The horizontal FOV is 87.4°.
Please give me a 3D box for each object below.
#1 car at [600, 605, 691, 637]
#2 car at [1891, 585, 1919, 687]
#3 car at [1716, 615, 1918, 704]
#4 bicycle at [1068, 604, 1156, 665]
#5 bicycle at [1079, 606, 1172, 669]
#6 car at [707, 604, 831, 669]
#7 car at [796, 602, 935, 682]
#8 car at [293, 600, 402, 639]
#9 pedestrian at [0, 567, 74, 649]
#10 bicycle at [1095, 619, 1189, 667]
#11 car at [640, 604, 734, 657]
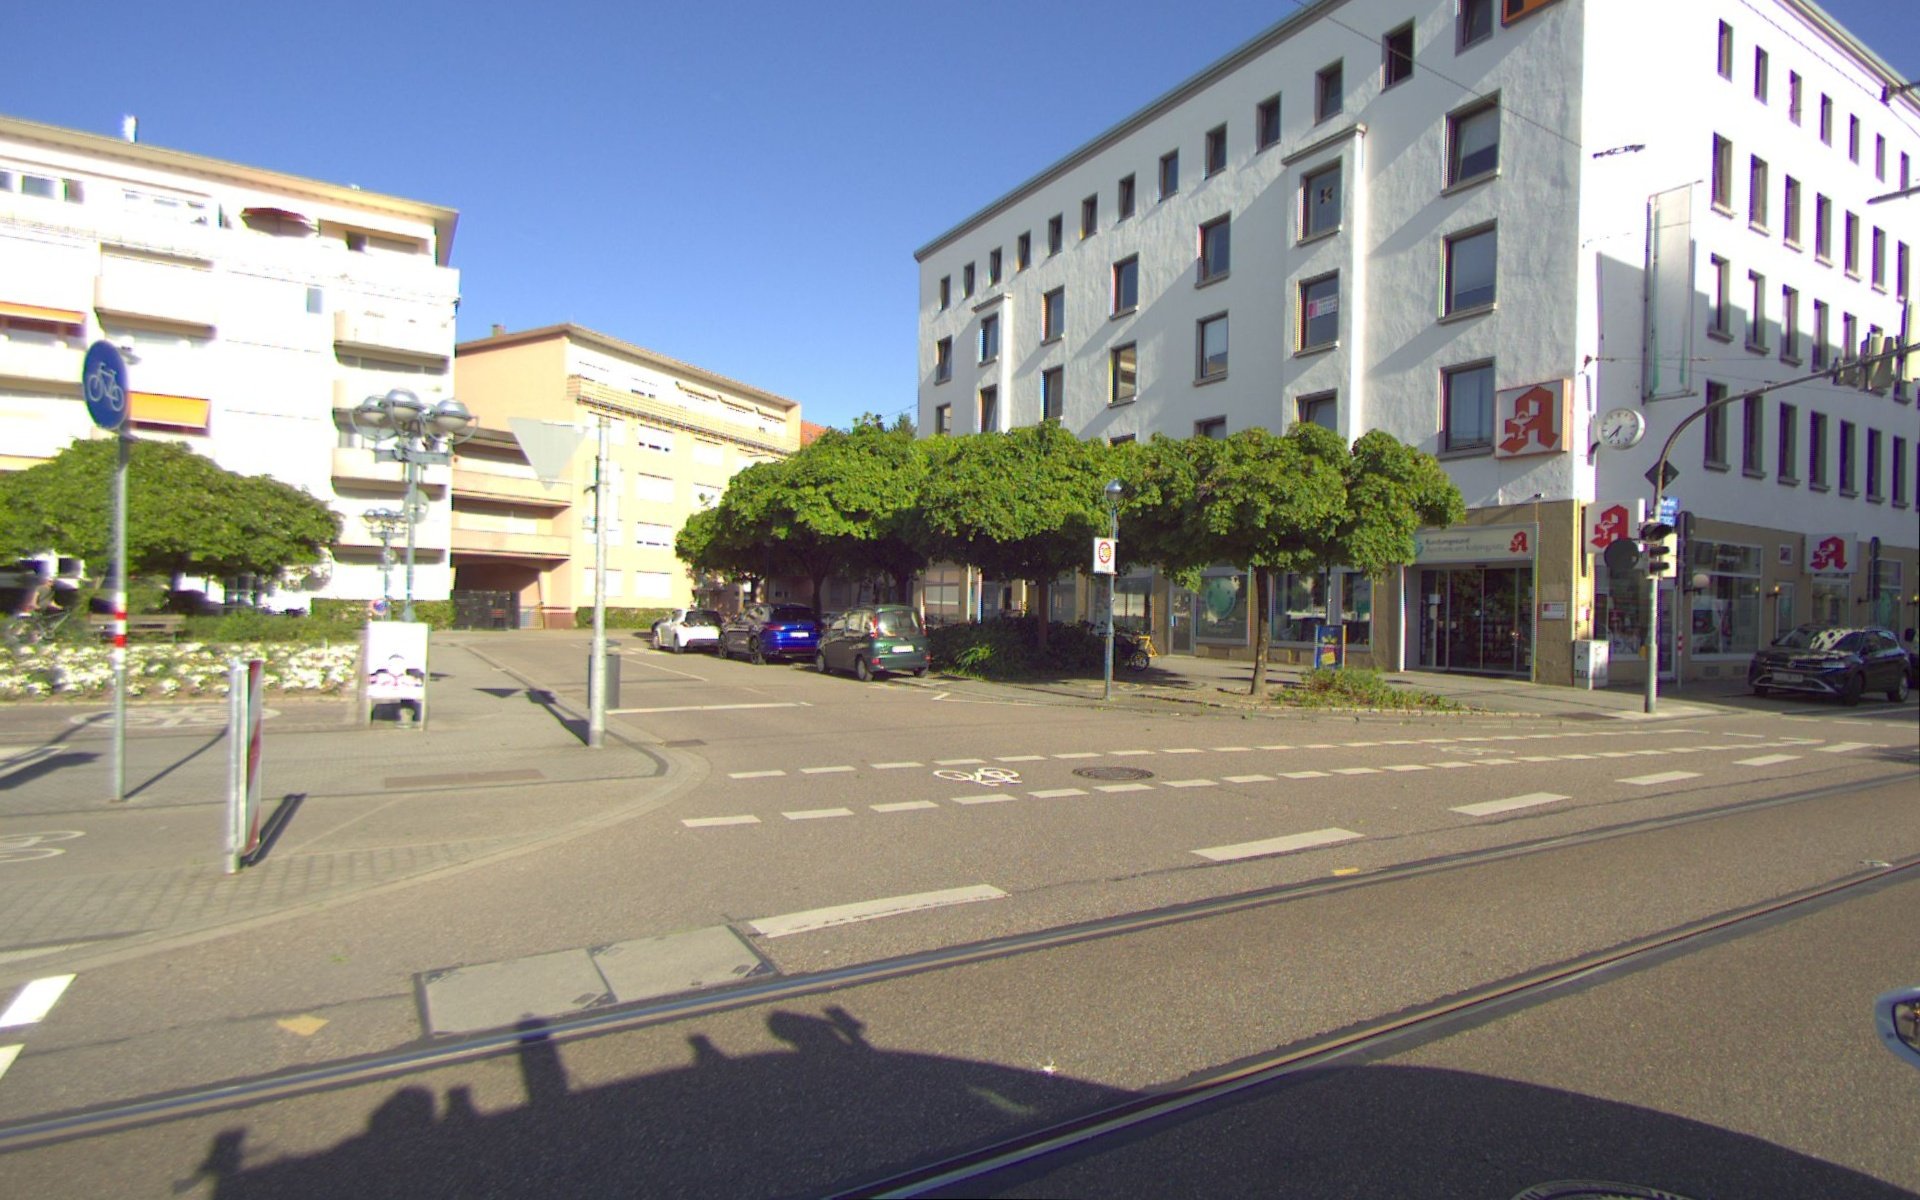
[{"bbox_3d":[-16.113,1.075,51.679,1.886,1.514,4.344,2,0,30],"label":"car"},{"bbox_3d":[26.998,0.985,26.439,6.137,2.576,2.074,2,0,-32],"label":"car"},{"bbox_3d":[18.163,1.221,21.255,4.354,1.590,1.982,2,2,-32],"label":"car"},{"bbox_3d":[4.187,0.945,27.514,2.592,1.628,0.614,2,0,-33],"label":"bicycle"},{"bbox_3d":[4.435,0.979,26.857,2.586,1.628,0.615,0,0,-27],"label":"bicycle"},{"bbox_3d":[-5.612,0.990,29.062,1.978,1.684,4.580,1,-1,-32],"label":"car"},{"bbox_3d":[-2.352,0.939,24.112,1.804,1.728,3.967,1,-1,-30],"label":"car"},{"bbox_3d":[-22.021,0.705,36.265,3.272,1.372,1.637,1,0,-30],"label":"car"},{"bbox_3d":[-23.632,0.217,25.678,1.219,2.040,1.213,1,0,-31],"label":"pedestrian"},{"bbox_3d":[4.768,1.130,26.217,2.587,1.206,0.615,2,0,-28],"label":"bicycle"},{"bbox_3d":[-9.359,0.995,34.157,1.835,1.628,4.580,1,-1,-32],"label":"car"}]
